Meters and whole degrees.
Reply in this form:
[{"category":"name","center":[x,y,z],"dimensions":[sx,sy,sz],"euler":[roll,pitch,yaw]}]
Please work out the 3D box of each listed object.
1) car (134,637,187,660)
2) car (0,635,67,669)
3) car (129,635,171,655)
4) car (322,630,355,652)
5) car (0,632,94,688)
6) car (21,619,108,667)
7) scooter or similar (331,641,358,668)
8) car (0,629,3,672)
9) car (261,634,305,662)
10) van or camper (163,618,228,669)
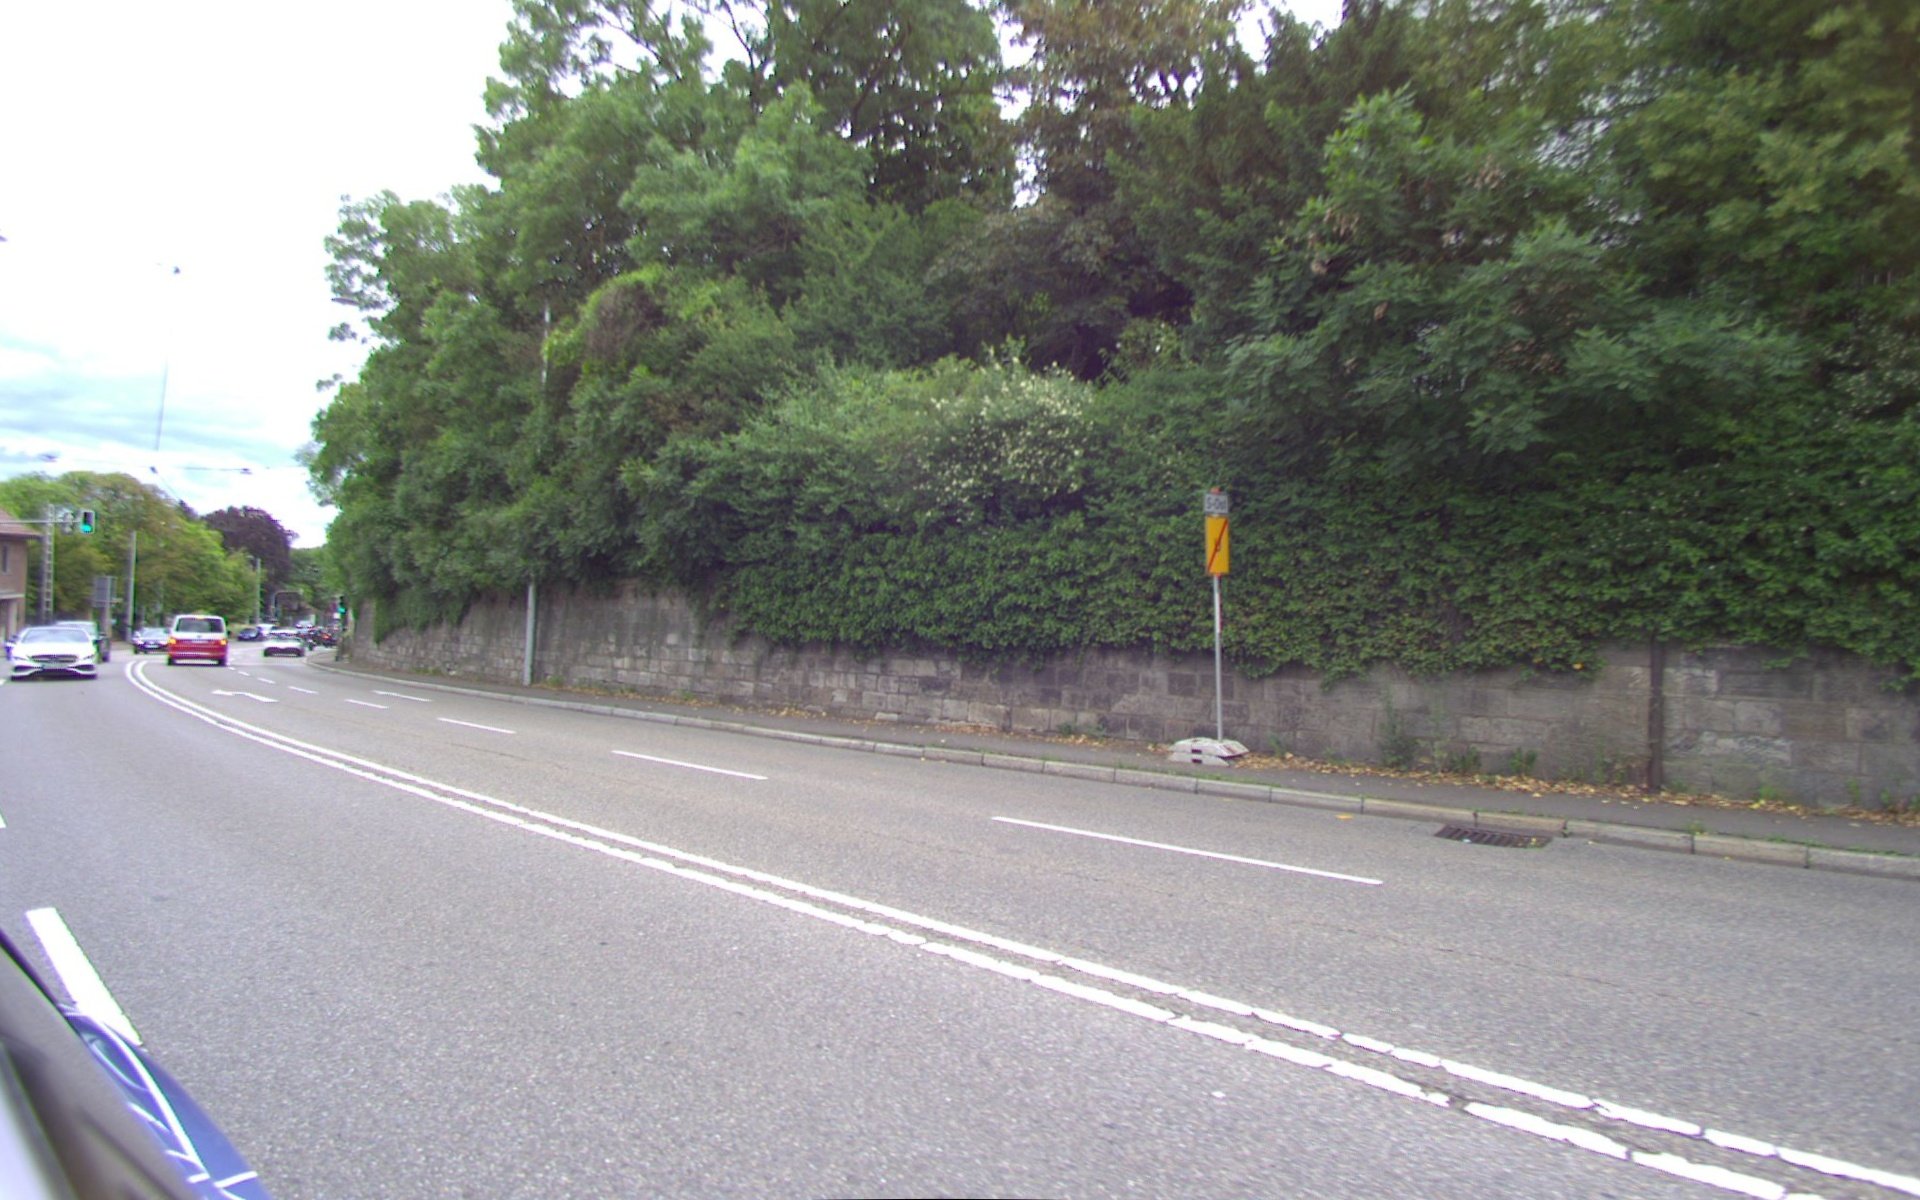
[{"category":"car","center":[-45.022,2.704,57.064],"dimensions":[1.805,1.223,4.011],"euler":[3,-3,-31]},{"category":"car","center":[-41.000,2.265,44.632],"dimensions":[1.967,1.415,4.009],"euler":[1,-2,-36]},{"category":"car","center":[-63.213,3.494,79.031],"dimensions":[1.652,1.472,4.379],"euler":[5,-4,-27]},{"category":"car","center":[-55.934,3.730,91.163],"dimensions":[1.719,1.860,4.262],"euler":[3,-3,-21]},{"category":"car","center":[-24.682,1.583,27.409],"dimensions":[1.776,1.401,3.533],"euler":[3,-3,-40]},{"category":"car","center":[-34.847,1.688,39.497],"dimensions":[1.927,1.753,4.010],"euler":[3,-4,-34]},{"category":"scooter or similar","center":[-29.999,2.639,49.324],"dimensions":[0.430,1.247,1.094],"euler":[-2,0,12]},{"category":"car","center":[-32.331,1.762,32.265],"dimensions":[1.927,1.785,4.010],"euler":[3,-4,-34]},{"category":"car","center":[-38.942,2.739,58.267],"dimensions":[1.758,1.478,4.113],"euler":[5,-4,-30]},{"category":"van or camper","center":[-30.453,1.720,40.314],"dimensions":[1.865,1.892,4.775],"euler":[4,-4,-37]}]
